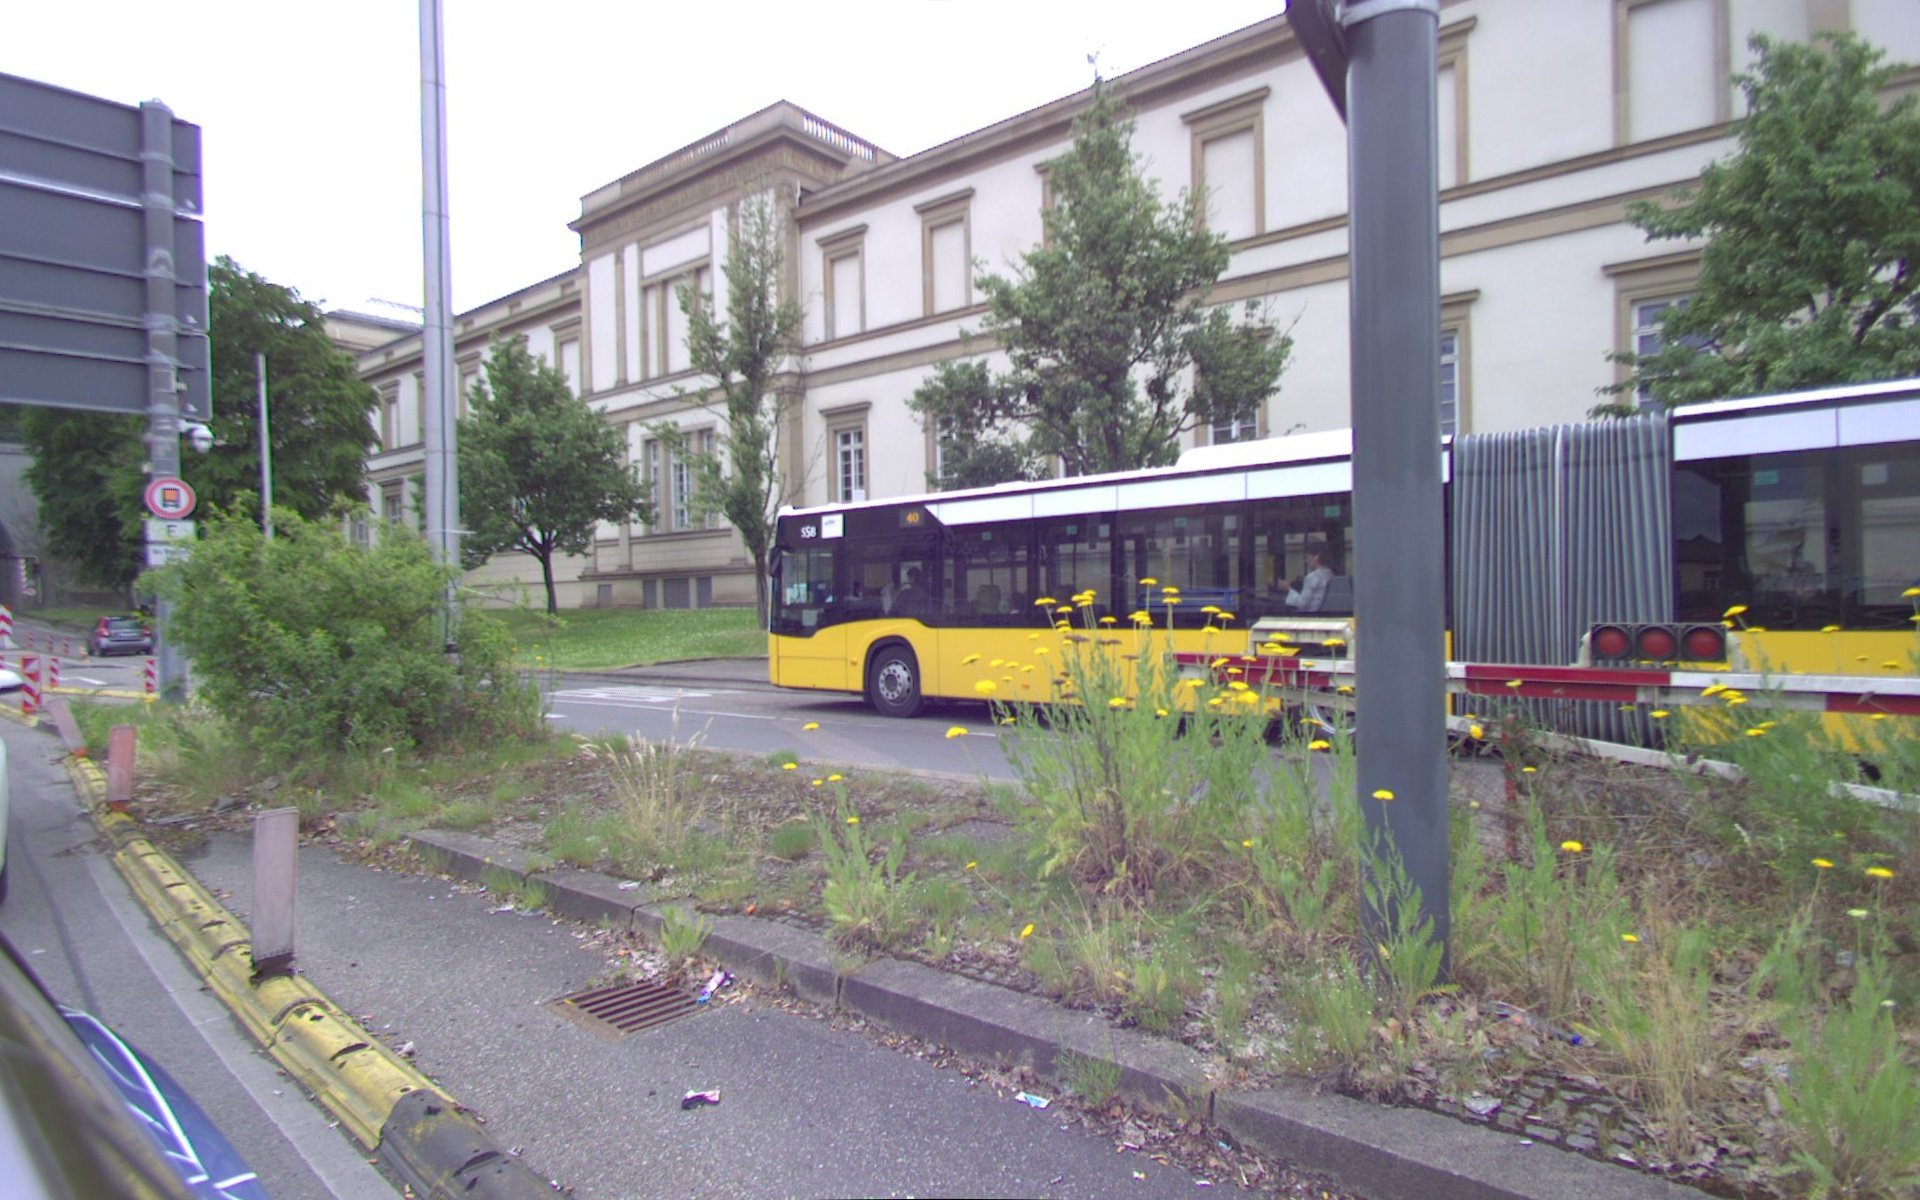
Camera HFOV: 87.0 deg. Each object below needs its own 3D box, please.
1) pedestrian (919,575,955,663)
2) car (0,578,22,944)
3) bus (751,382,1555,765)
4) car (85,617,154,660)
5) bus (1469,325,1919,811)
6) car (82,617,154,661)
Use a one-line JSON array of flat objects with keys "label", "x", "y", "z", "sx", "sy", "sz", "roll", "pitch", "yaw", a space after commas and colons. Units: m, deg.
[{"label": "pedestrian", "x": -0.460, "y": 0.378, "z": 20.032, "sx": 0.578, "sy": 1.708, "sz": 0.460, "roll": -1, "pitch": 0, "yaw": -15}, {"label": "car", "x": -6.216, "y": 0.762, "z": 5.116, "sx": 3.881, "sy": 1.603, "sz": 1.824, "roll": -2, "pitch": 0, "yaw": 42}, {"label": "bus", "x": 1.533, "y": -0.151, "z": 12.603, "sx": 9.745, "sy": 3.137, "sz": 2.816, "roll": -1, "pitch": 0, "yaw": 42}, {"label": "car", "x": -32.295, "y": 1.474, "z": 38.874, "sx": 2.820, "sy": 1.563, "sz": 1.520, "roll": -1, "pitch": -1, "yaw": 38}, {"label": "bus", "x": 8.532, "y": -0.265, "z": 6.315, "sx": 9.120, "sy": 3.137, "sz": 2.815, "roll": -1, "pitch": 0, "yaw": 42}, {"label": "car", "x": -32.814, "y": 1.484, "z": 39.398, "sx": 3.881, "sy": 1.603, "sz": 1.645, "roll": -2, "pitch": -1, "yaw": 42}]
